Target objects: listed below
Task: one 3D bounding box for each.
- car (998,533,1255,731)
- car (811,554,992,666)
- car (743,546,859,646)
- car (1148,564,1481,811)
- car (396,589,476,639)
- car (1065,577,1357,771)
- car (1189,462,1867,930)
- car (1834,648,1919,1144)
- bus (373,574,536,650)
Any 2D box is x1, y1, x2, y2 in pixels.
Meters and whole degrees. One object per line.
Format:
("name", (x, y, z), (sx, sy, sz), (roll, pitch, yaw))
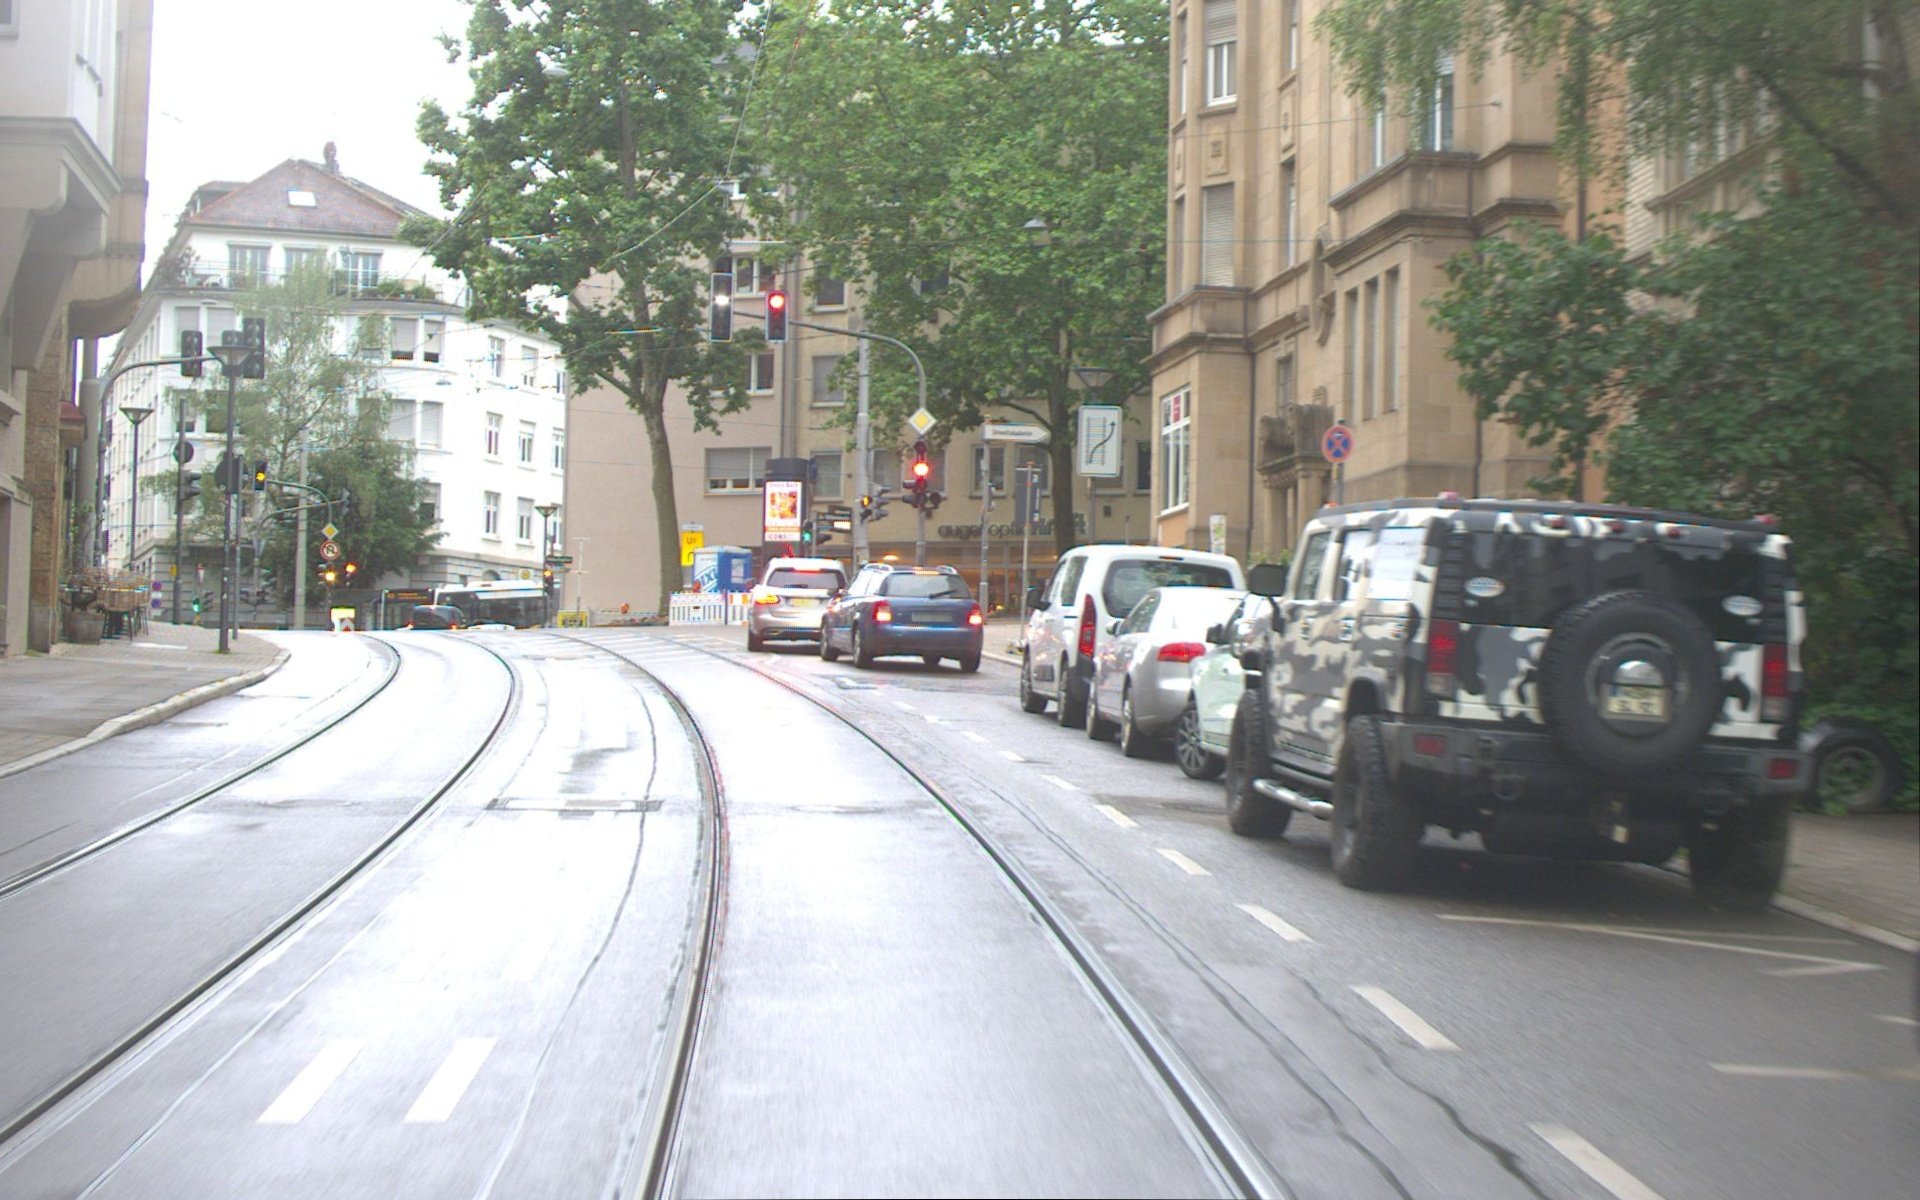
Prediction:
("car", (1.597, 0.271, 34.598), (1.797, 1.759, 4.464), (4, 0, -6))
("car", (-0.875, 0.109, 48.591), (1.710, 1.410, 4.038), (2, 1, -13))
("car", (-2.550, -0.083, 54.507), (1.710, 1.451, 3.553), (2, 1, -4))
("car", (2.465, 0.567, 24.718), (1.560, 1.541, 3.585), (4, 0, -6))
("car", (-16.821, 0.449, 110.514), (1.794, 1.505, 4.000), (-1, 1, 2))
("car", (2.050, 0.572, 29.367), (1.748, 1.396, 4.479), (4, 0, -4))
("car", (2.773, 0.404, 18.305), (2.128, 2.007, 5.351), (4, 0, -6))
("car", (3.495, 0.870, 8.329), (1.678, 1.333, 3.883), (3, 1, 0))
("bus", (-20.100, 0.436, 137.279), (2.857, 2.851, 8.726), (1, 1, 18))
